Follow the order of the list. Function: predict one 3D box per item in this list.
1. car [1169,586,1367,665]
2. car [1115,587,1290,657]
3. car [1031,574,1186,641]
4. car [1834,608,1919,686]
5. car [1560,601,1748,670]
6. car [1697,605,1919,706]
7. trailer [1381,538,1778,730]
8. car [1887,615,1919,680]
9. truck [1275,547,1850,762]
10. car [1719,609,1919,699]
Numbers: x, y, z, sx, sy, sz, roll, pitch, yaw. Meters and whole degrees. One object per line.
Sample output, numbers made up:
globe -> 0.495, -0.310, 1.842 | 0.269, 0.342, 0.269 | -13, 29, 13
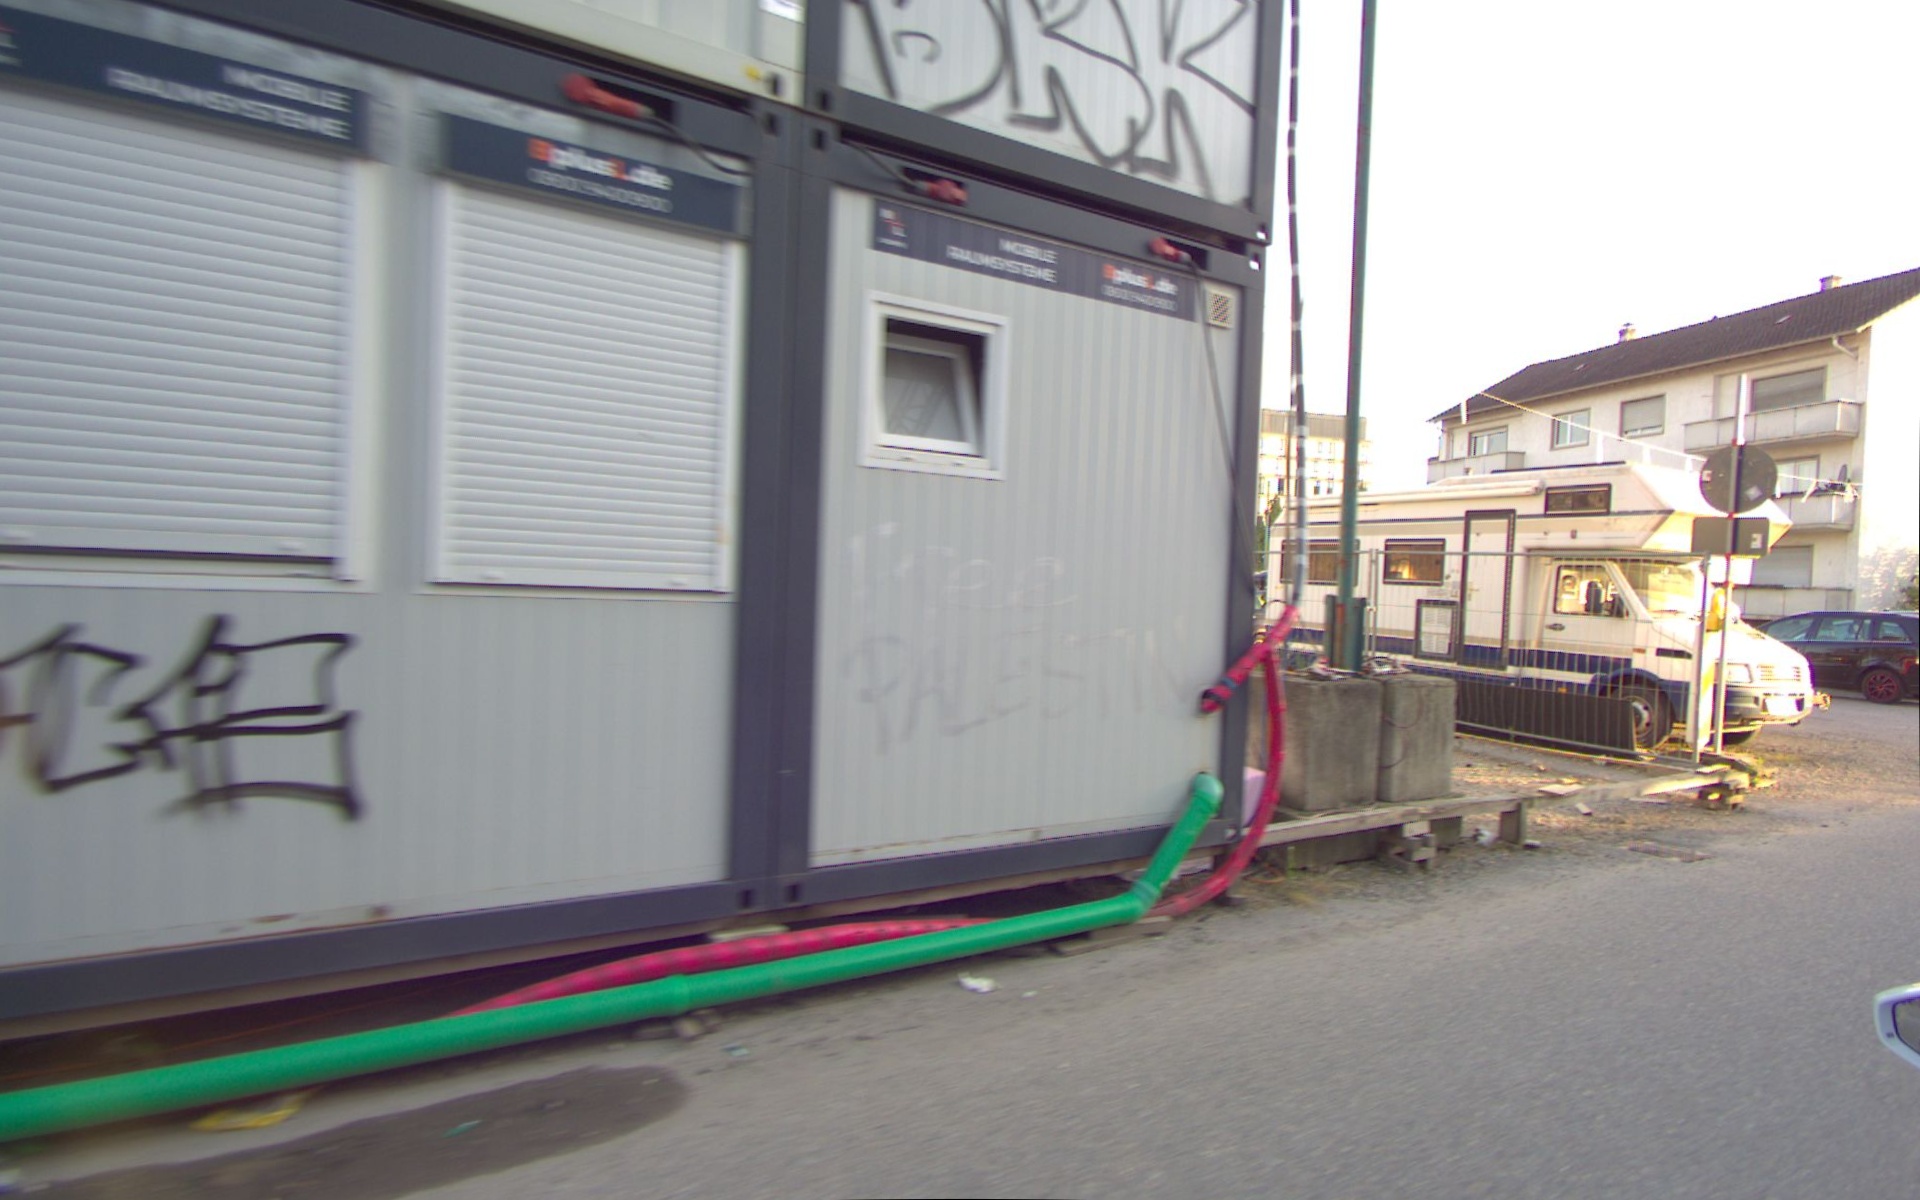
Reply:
car -> 6.730, 0.563, 21.957 | 3.885, 1.543, 1.838 | 2, 1, -25
car -> 6.020, 0.542, 24.984 | 3.884, 1.543, 1.838 | 2, 1, -24
car -> 4.171, 0.213, 28.242 | 3.884, 1.691, 1.838 | 2, 1, -24
car -> 21.987, 1.060, 21.872 | 1.797, 1.650, 4.075 | 0, 1, -26
car -> 17.778, 0.901, 25.770 | 4.085, 1.543, 1.842 | 2, 1, -18
car -> 16.944, 1.010, 19.379 | 1.821, 1.641, 4.031 | 2, 1, -20
trailer -> 9.230, 0.386, 15.554 | 2.104, 2.465, 4.781 | 3, 1, -22
car -> 24.304, 1.225, 23.198 | 1.618, 1.536, 3.920 | 3, 1, -20
truck -> 7.101, 0.471, 12.890 | 2.325, 2.070, 5.990 | 2, 1, -26
car -> 18.902, 1.080, 21.464 | 1.781, 1.541, 3.919 | 1, 2, -20
